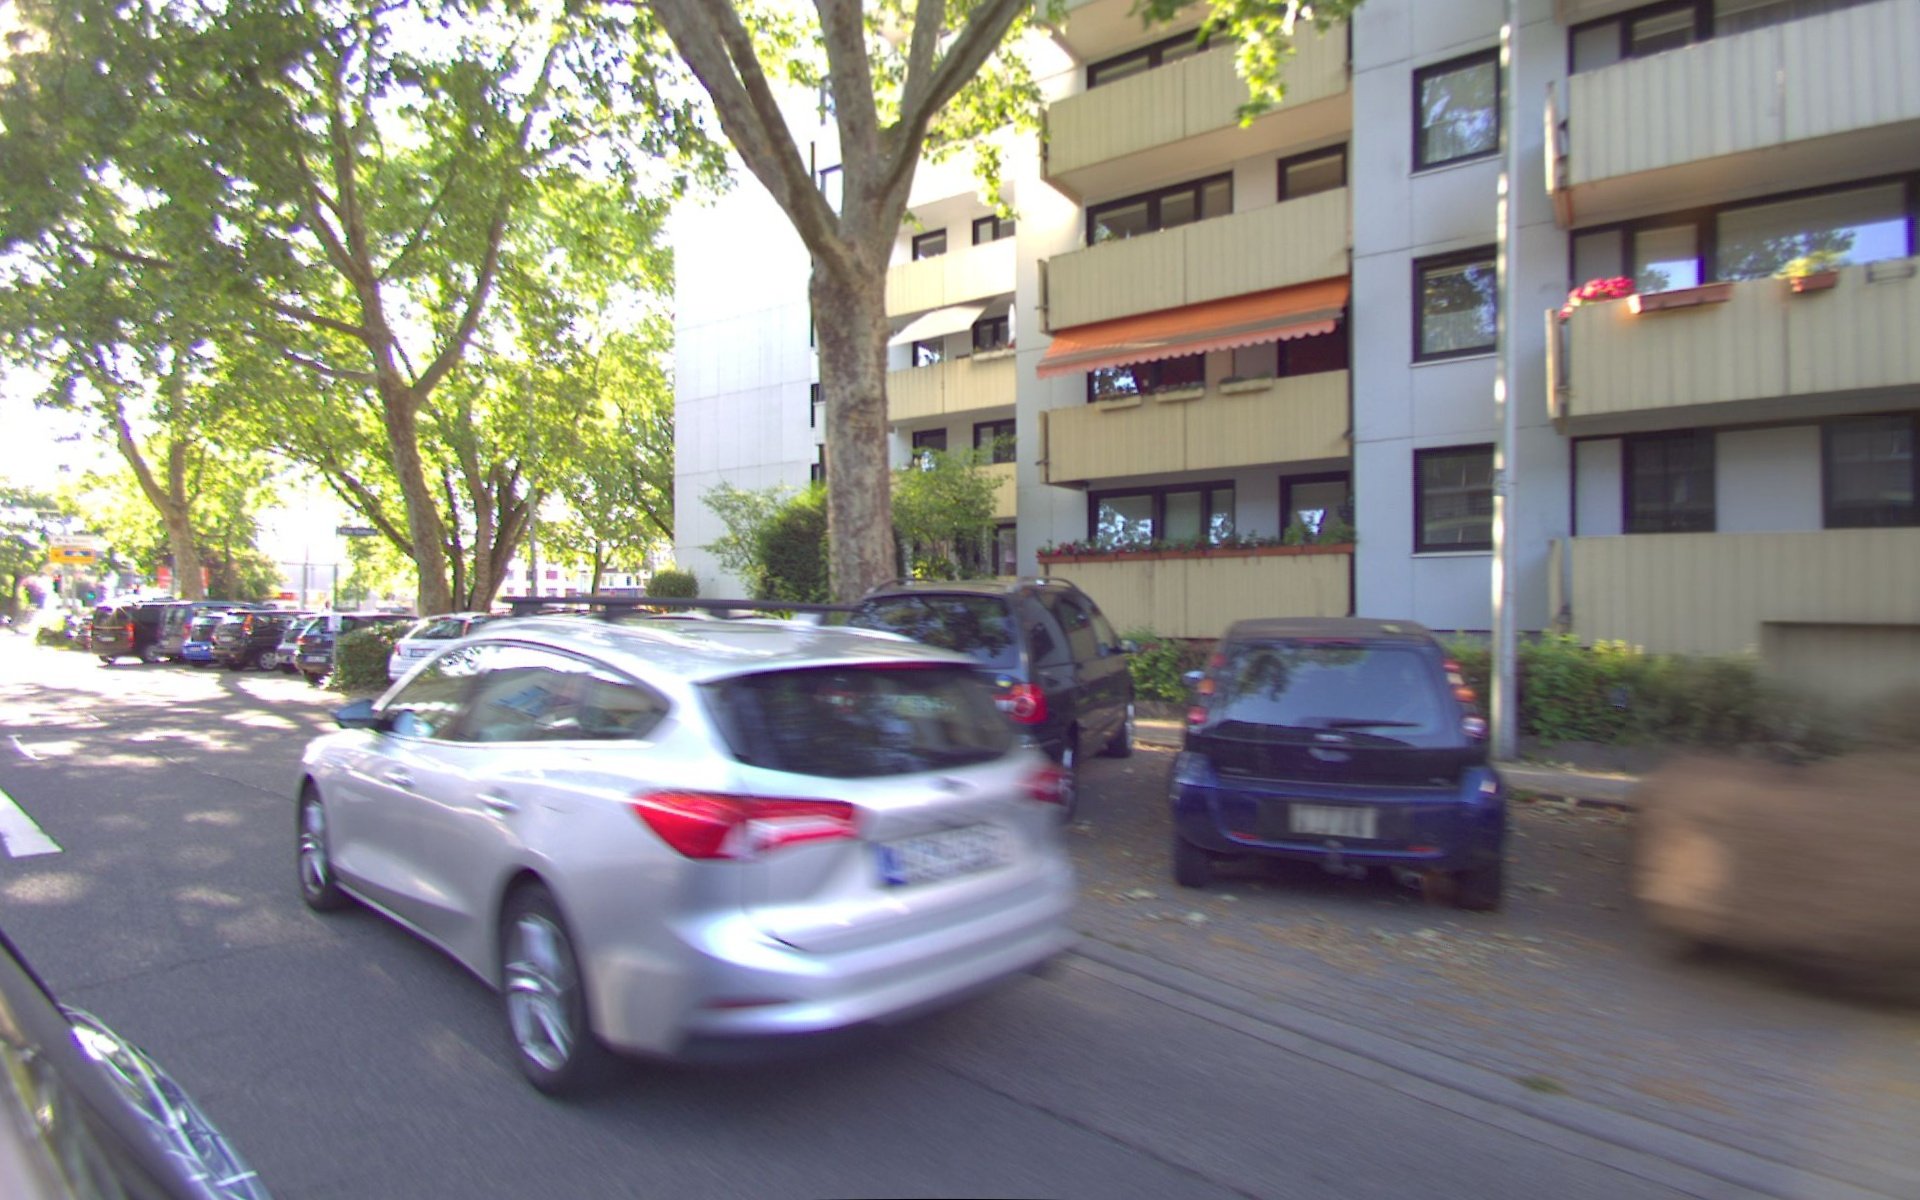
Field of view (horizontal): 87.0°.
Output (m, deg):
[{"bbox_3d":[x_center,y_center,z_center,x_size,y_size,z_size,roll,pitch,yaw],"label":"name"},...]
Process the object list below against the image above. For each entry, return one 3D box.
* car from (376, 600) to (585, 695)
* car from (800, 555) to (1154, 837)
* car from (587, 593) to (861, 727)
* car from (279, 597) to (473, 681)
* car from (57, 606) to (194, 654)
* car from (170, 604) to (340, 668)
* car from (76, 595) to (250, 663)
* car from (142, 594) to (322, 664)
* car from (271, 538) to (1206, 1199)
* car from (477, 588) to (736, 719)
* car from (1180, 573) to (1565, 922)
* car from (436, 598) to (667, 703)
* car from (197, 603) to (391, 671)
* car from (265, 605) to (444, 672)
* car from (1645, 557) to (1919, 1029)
[{"bbox_3d":[-8.997,0.824,19.334,1.693,1.572,3.633,-1,1,14],"label":"car"},{"bbox_3d":[0.446,0.587,8.752,1.891,1.788,4.244,-1,1,18],"label":"car"},{"bbox_3d":[-3.007,0.699,13.647,1.765,1.505,3.633,-2,0,23],"label":"car"},{"bbox_3d":[-12.840,0.795,22.508,1.635,1.674,3.632,-1,1,15],"label":"car"},{"bbox_3d":[-31.782,1.087,38.696,1.696,1.654,3.992,-1,1,7],"label":"car"},{"bbox_3d":[-19.487,0.953,28.137,1.640,1.572,3.572,-1,1,23],"label":"car"},{"bbox_3d":[-24.211,0.817,30.929,1.701,1.900,3.981,-1,1,15],"label":"car"},{"bbox_3d":[-21.545,0.797,30.118,1.823,1.896,3.966,-1,1,25],"label":"car"},{"bbox_3d":[-1.428,0.693,4.525,1.878,1.548,4.624,3,-3,-45],"label":"car"},{"bbox_3d":[-5.091,0.678,15.070,1.640,1.674,3.622,-1,1,23],"label":"car"},{"bbox_3d":[2.408,0.649,6.554,1.685,1.572,3.631,-1,1,16],"label":"car"},{"bbox_3d":[-6.927,0.780,17.556,1.640,1.572,3.622,-1,1,23],"label":"car"},{"bbox_3d":[-17.523,0.906,26.832,1.789,1.637,3.964,-1,0,27],"label":"car"},{"bbox_3d":[-15.133,0.911,25.491,1.693,1.472,3.625,-1,1,20],"label":"car"},{"bbox_3d":[4.404,0.609,4.743,1.693,1.572,3.613,-1,1,30],"label":"car"}]
